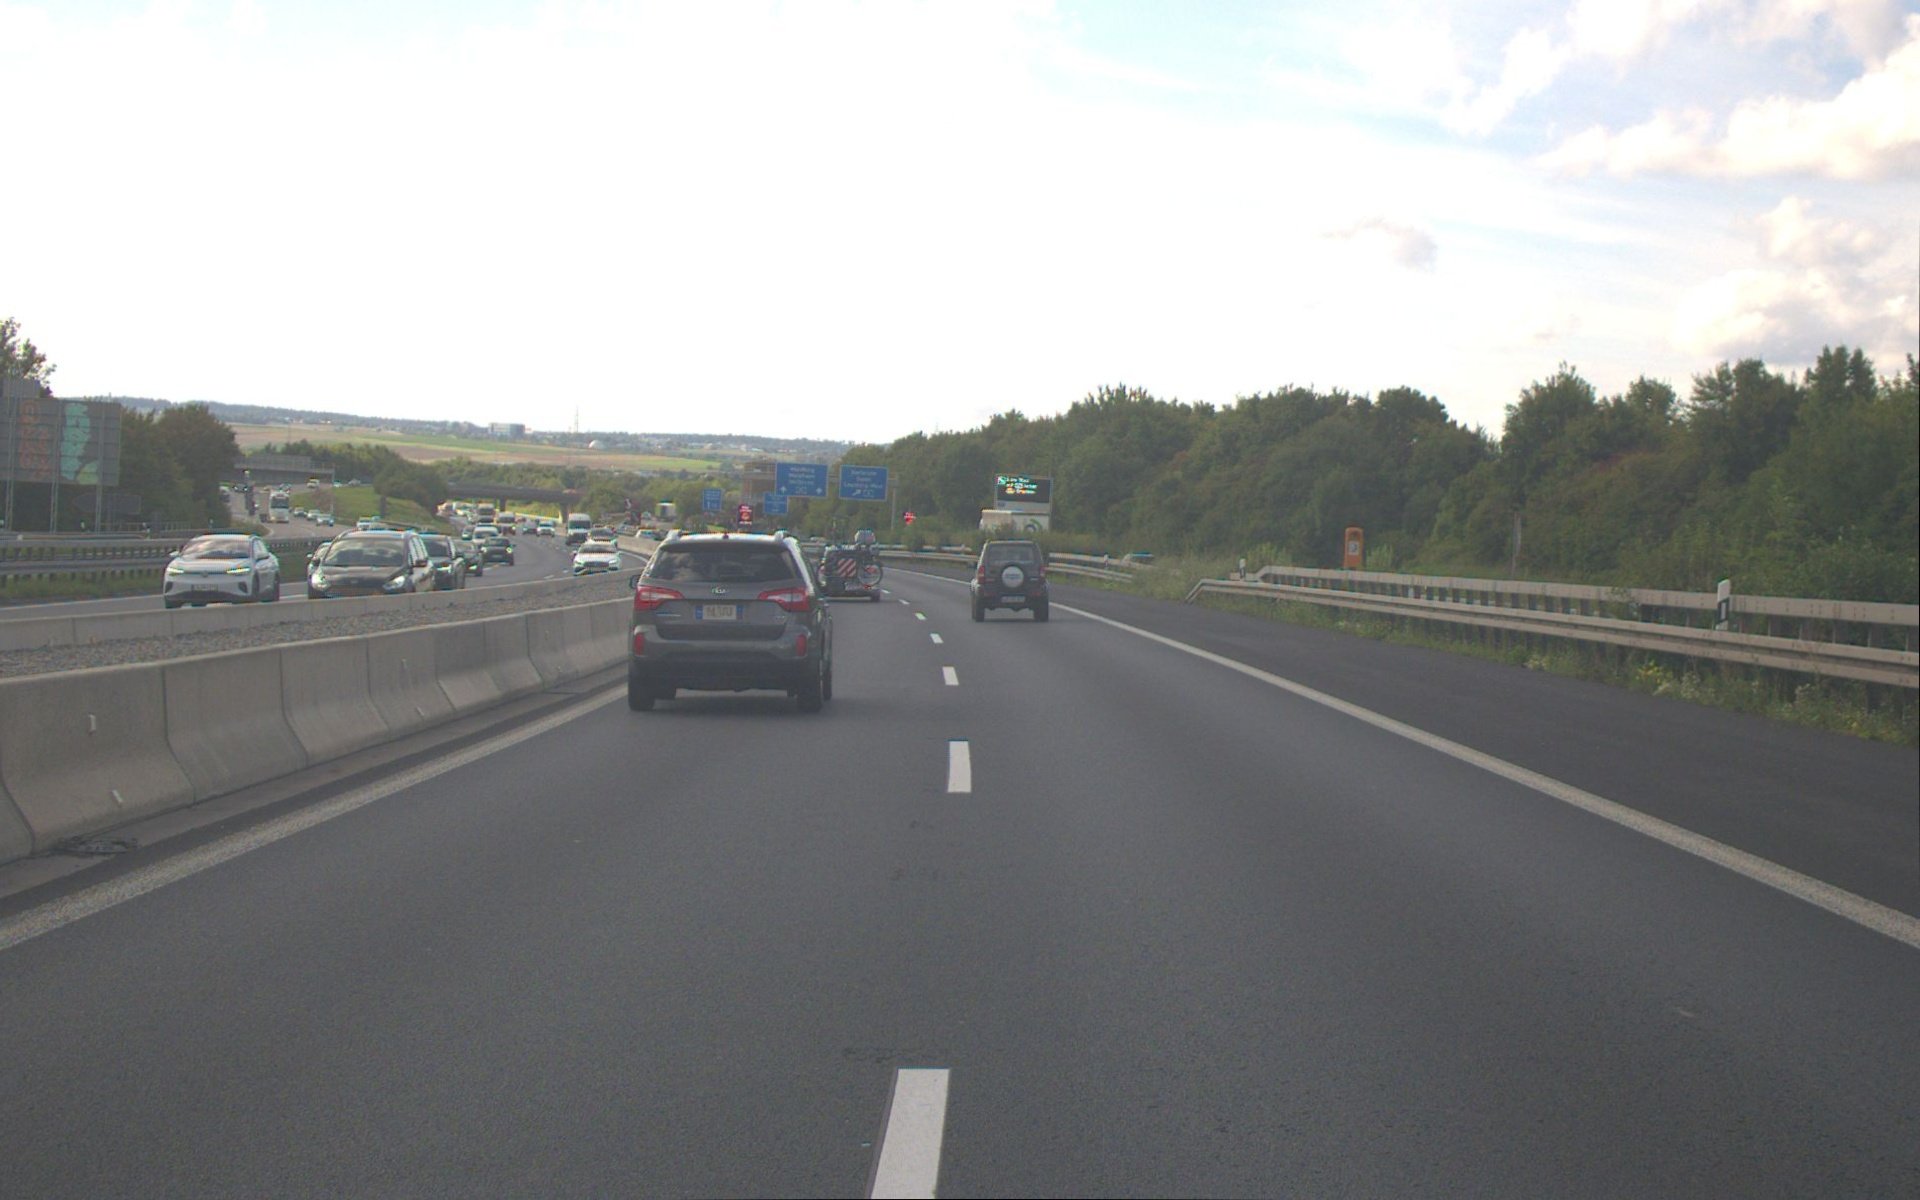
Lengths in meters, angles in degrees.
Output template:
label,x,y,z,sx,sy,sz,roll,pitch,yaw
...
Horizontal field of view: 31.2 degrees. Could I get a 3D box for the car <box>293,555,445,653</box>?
label,x,y,z,sx,sy,sz,roll,pitch,yaw
car,-10.829,0.042,63.301,1.886,1.697,4.966,1,1,0

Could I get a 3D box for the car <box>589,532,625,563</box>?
label,x,y,z,sx,sy,sz,roll,pitch,yaw
car,-23.047,-3.449,224.515,1.993,1.913,5.149,2,1,-3

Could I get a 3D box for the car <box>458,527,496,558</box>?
label,x,y,z,sx,sy,sz,roll,pitch,yaw
car,-29.582,-3.517,210.723,1.993,1.808,4.242,1,1,-4

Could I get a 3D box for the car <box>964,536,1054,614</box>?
label,x,y,z,sx,sy,sz,roll,pitch,yaw
car,1.033,-0.559,74.506,1.587,1.591,4.096,1,1,-4

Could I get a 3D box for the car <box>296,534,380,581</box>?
label,x,y,z,sx,sy,sz,roll,pitch,yaw
car,-19.626,-1.345,108.635,1.886,1.425,4.578,1,1,-1

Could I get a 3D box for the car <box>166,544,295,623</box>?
label,x,y,z,sx,sy,sz,roll,pitch,yaw
car,-15.559,-0.390,73.530,1.886,1.604,4.967,1,1,-2

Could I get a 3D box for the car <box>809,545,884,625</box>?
label,x,y,z,sx,sy,sz,roll,pitch,yaw
car,-3.182,-0.446,97.034,2.030,2.144,4.000,1,1,-1

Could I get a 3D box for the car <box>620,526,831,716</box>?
label,x,y,z,sx,sy,sz,roll,pitch,yaw
car,-2.268,0.177,34.399,1.817,1.730,5.187,1,0,-1

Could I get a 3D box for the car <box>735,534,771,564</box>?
label,x,y,z,sx,sy,sz,roll,pitch,yaw
car,-12.182,-2.988,202.265,1.993,1.678,4.000,1,-1,-5

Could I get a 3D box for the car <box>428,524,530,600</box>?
label,x,y,z,sx,sy,sz,roll,pitch,yaw
car,-11.774,-0.943,84.377,1.886,1.779,4.953,1,1,-1

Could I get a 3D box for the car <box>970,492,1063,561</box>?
label,x,y,z,sx,sy,sz,roll,pitch,yaw
car,3.765,-4.946,233.679,4.727,4.251,11.406,1,-1,-7

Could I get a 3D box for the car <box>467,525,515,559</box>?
label,x,y,z,sx,sy,sz,roll,pitch,yaw
car,-24.103,-2.979,176.740,1.993,1.685,4.374,1,1,-3

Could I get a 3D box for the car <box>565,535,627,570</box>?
label,x,y,z,sx,sy,sz,roll,pitch,yaw
car,-14.353,-1.897,135.864,2.045,1.333,5.609,1,1,-2
